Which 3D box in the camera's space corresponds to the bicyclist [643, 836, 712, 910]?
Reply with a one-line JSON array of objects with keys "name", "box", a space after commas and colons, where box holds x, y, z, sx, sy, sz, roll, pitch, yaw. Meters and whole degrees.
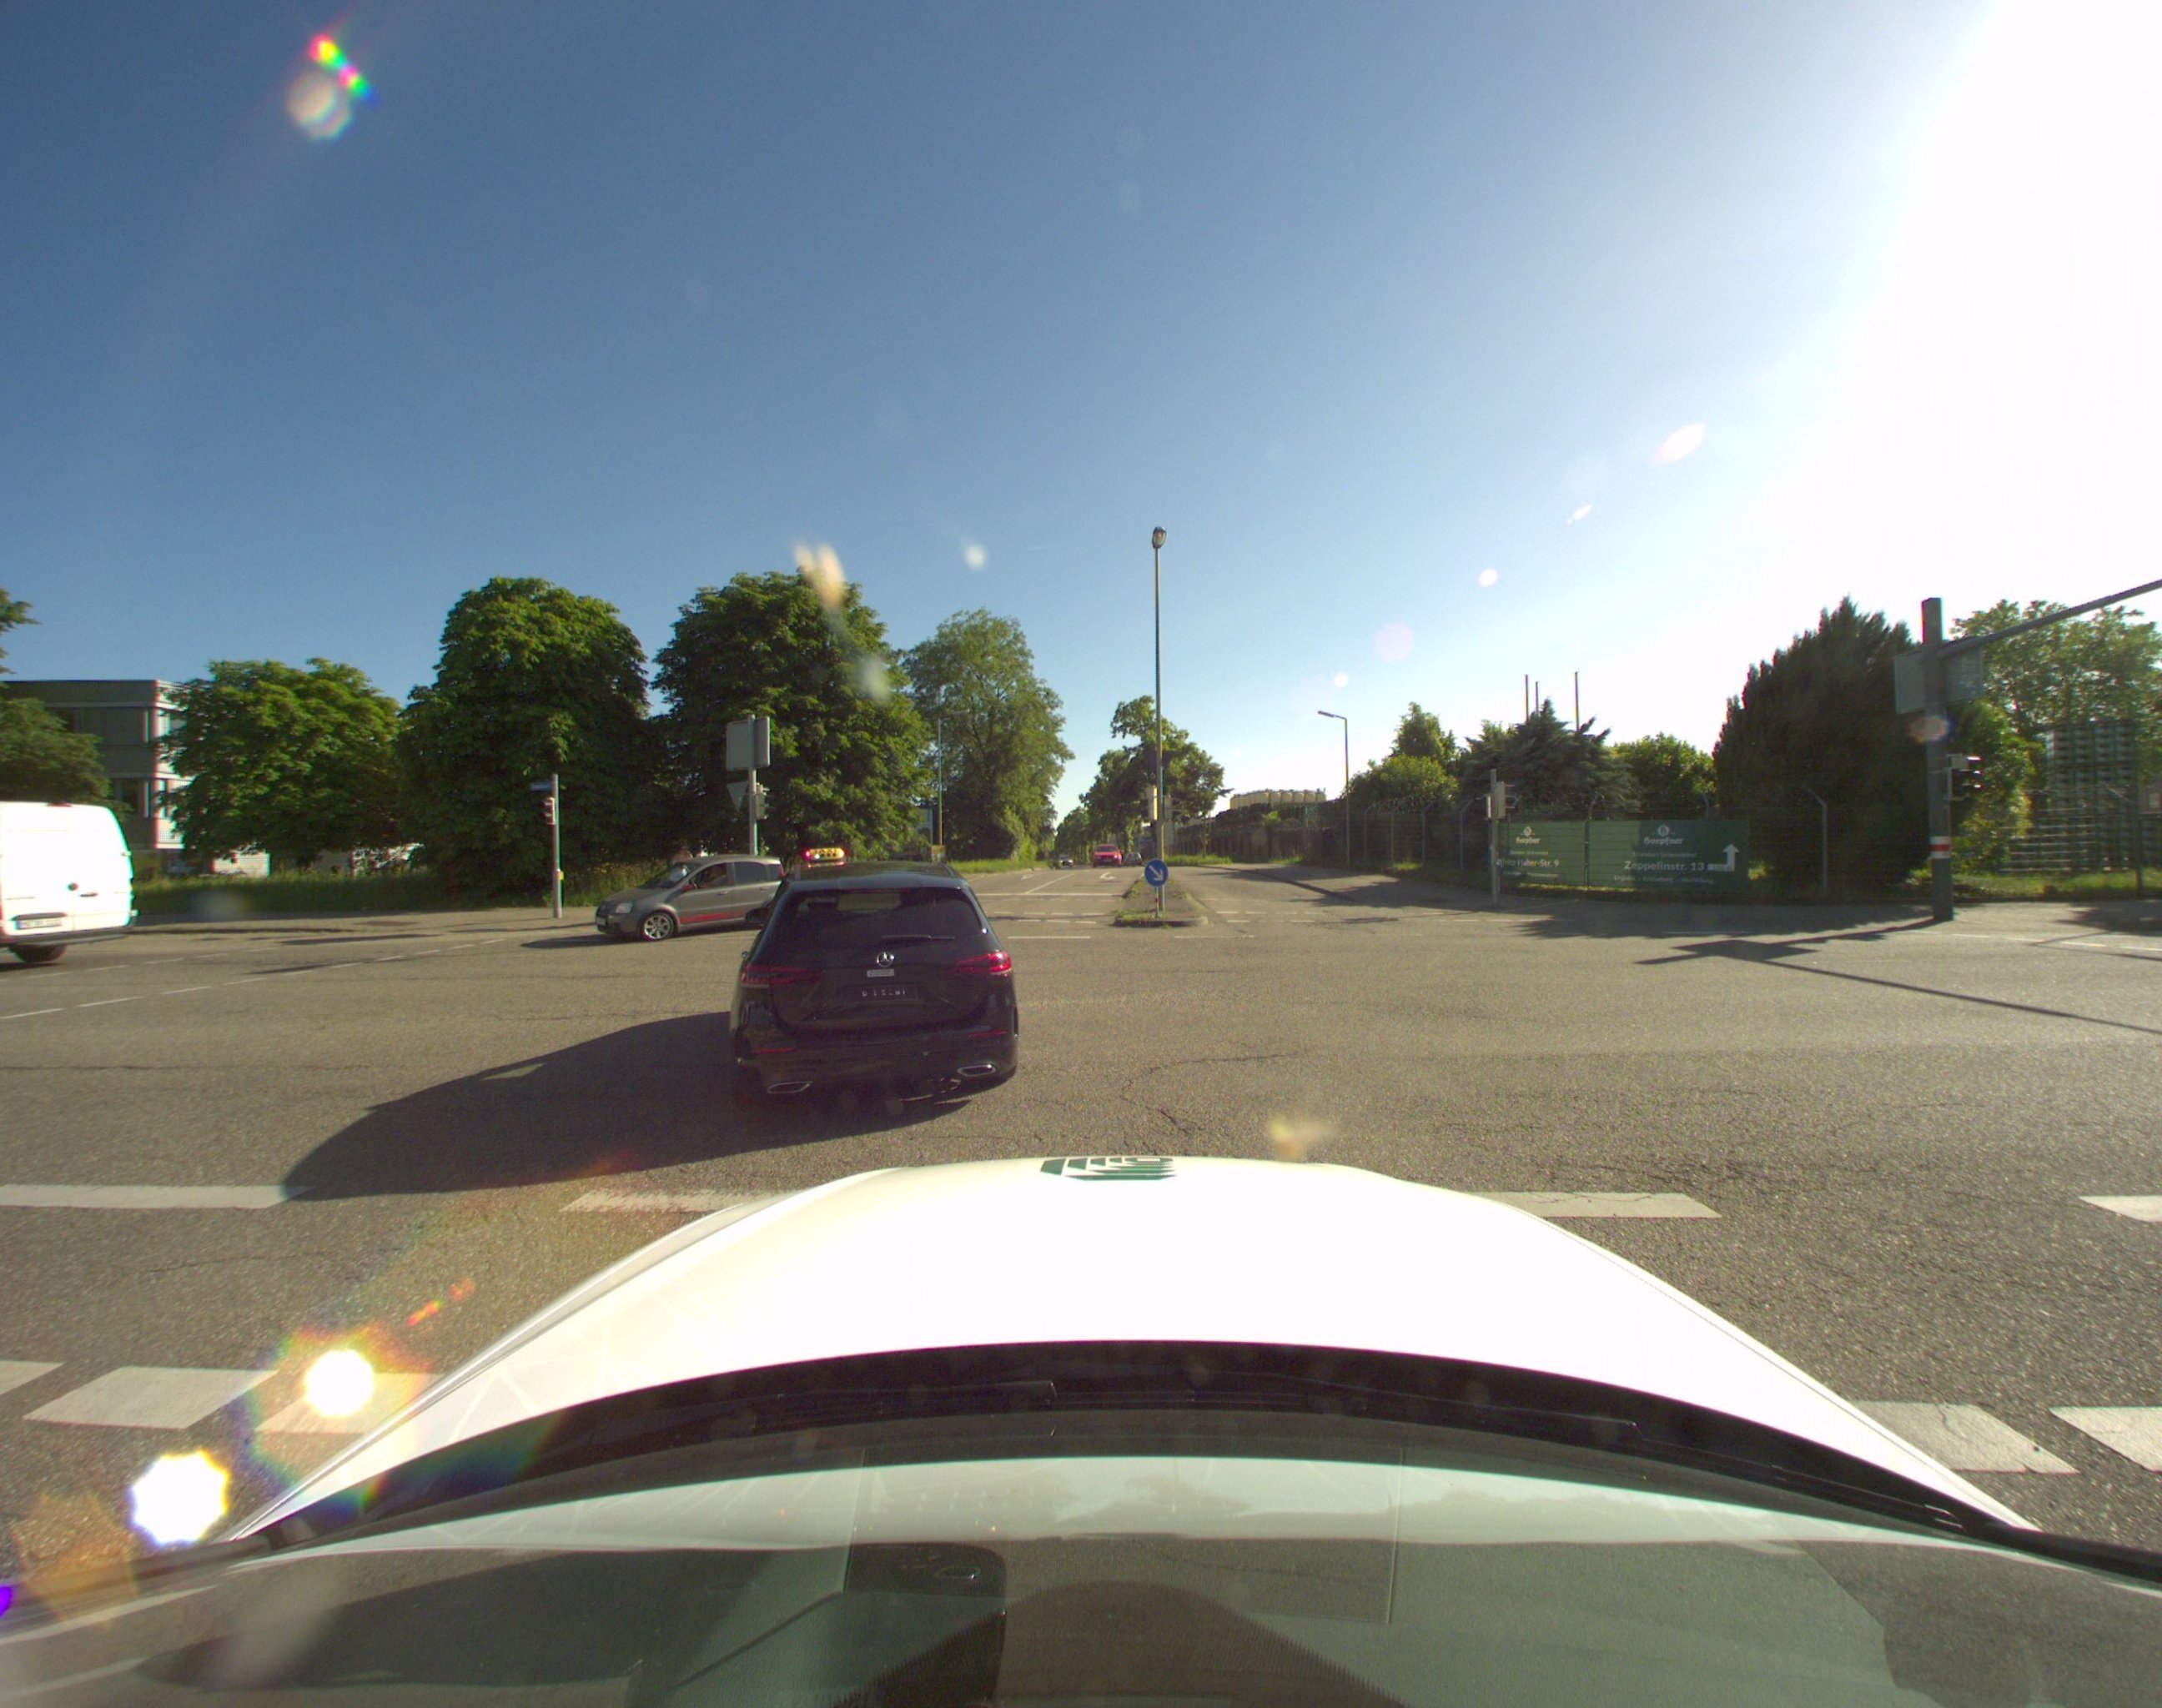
[{"name": "bicyclist", "box": [-9.519, 0.437, 19.224, 1.176, 1.693, 0.897, -1, -1, 22]}]

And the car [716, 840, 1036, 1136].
[{"name": "car", "box": [-1.703, 0.743, 6.607, 1.774, 1.592, 3.966, -1, 0, -17]}]

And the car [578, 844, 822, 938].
[{"name": "car", "box": [-7.499, 0.647, 16.323, 1.787, 1.640, 4.025, -2, 0, 41]}]

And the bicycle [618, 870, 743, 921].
[{"name": "bicycle", "box": [-9.439, 0.953, 19.185, 2.918, 1.125, 0.908, -1, -1, 21]}]

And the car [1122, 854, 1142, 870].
[{"name": "car", "box": [5.267, 0.844, 84.188, 1.686, 1.632, 3.125, -1, 0, -5]}]

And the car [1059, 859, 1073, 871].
[{"name": "car", "box": [-1.994, 1.477, 109.801, 1.852, 1.469, 4.135, -1, 0, -2]}]

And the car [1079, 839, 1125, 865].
[{"name": "car", "box": [1.245, -0.113, 50.281, 1.860, 1.469, 4.120, -1, 0, -13]}]

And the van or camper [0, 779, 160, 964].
[{"name": "van or camper", "box": [-19.571, 0.286, 12.920, 7.040, 2.739, 2.231, 0, -1, -3]}]
